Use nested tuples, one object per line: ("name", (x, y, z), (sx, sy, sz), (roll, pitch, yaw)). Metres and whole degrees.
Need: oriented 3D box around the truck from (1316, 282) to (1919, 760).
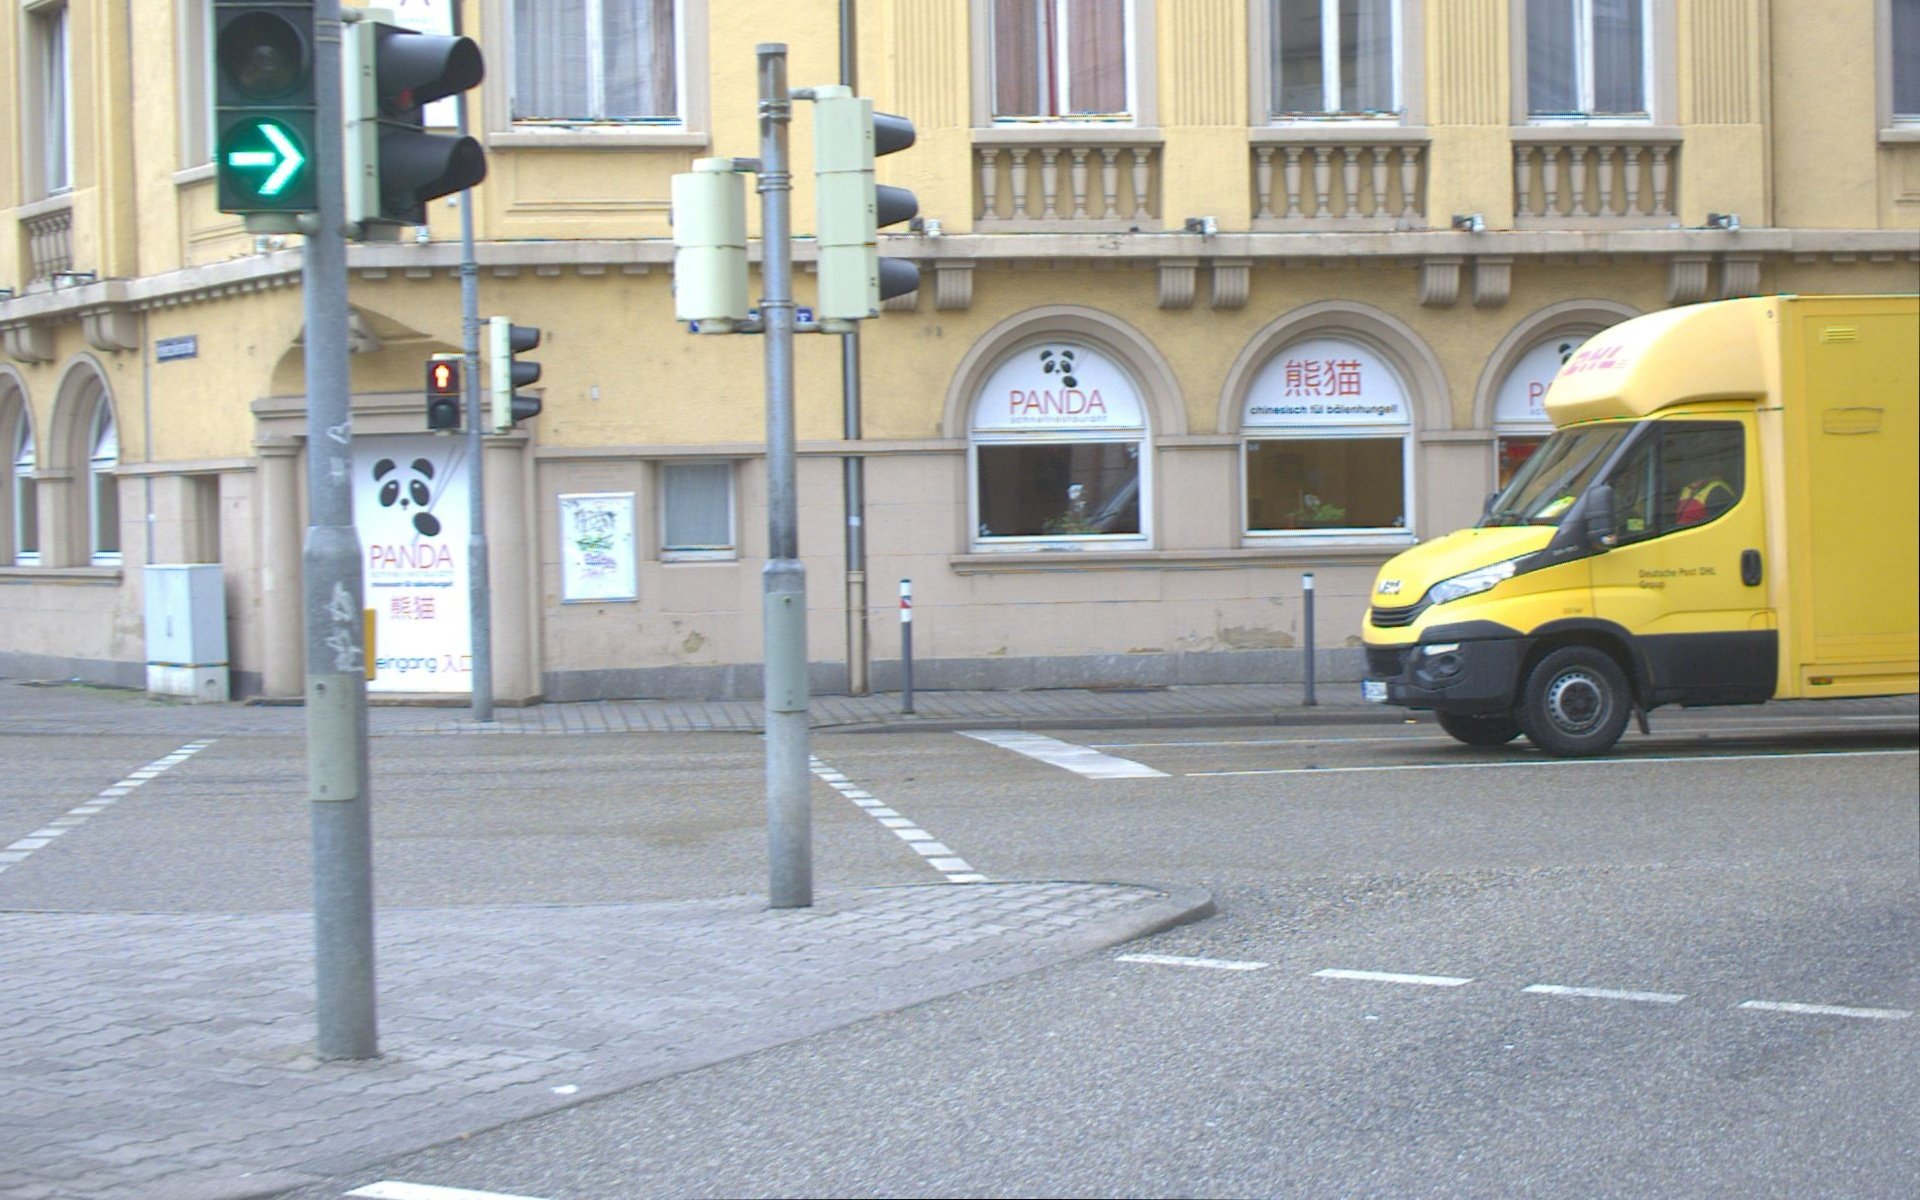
("truck", (6.031, -0.553, 22.172), (7.089, 2.841, 2.083), (-1, 1, -9))
